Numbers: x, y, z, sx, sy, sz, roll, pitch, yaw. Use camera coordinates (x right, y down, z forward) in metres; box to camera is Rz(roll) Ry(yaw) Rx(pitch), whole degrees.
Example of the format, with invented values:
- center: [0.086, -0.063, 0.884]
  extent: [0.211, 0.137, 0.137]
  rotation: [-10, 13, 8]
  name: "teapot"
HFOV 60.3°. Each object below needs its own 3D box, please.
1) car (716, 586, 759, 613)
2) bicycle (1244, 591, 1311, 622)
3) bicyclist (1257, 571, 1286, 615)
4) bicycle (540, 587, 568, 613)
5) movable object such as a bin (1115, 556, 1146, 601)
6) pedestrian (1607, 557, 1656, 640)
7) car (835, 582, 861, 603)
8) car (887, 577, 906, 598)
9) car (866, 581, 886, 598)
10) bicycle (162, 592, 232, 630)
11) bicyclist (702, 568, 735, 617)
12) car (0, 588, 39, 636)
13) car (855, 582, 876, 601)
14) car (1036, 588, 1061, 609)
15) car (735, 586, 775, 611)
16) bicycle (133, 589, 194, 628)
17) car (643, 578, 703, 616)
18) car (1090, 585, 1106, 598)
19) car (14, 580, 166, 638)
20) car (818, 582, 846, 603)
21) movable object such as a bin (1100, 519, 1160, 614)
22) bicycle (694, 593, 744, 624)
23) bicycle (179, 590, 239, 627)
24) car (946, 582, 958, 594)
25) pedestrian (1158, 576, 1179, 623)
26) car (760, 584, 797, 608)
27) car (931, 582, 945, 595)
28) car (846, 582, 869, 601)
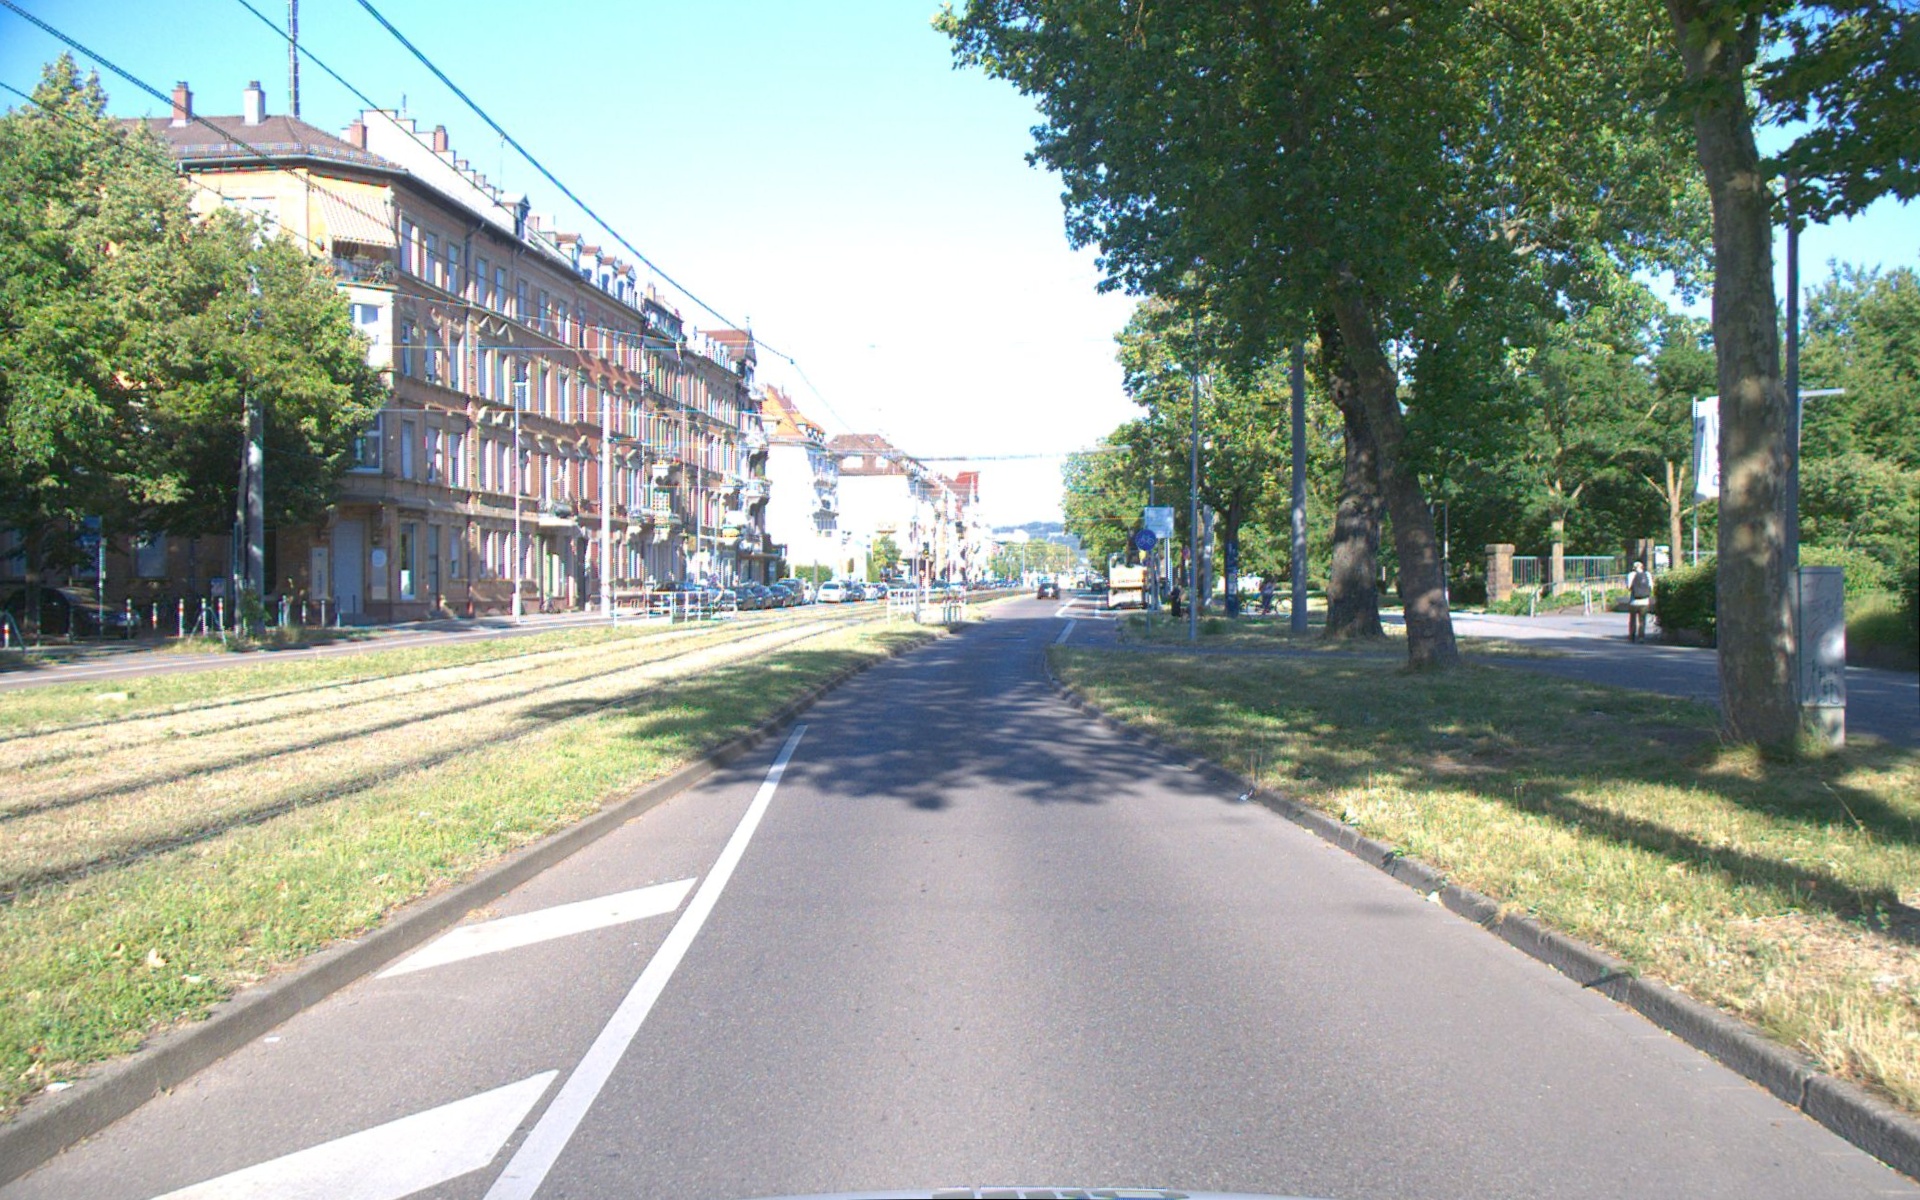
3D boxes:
- center: [-13.422, -0.044, 99.955]
  extent: [1.739, 1.430, 3.912]
  rotation: [2, 2, 4]
  name: "car"
- center: [11.203, 0.221, 58.437]
  extent: [2.213, 1.059, 0.767]
  rotation: [-1, 1, 1]
  name: "bicycle"
- center: [10.995, -0.252, 58.442]
  extent: [0.884, 1.522, 0.767]
  rotation: [0, 1, 1]
  name: "bicyclist"
- center: [-18.941, 0.000, 77.161]
  extent: [0.684, 1.201, 1.752]
  rotation: [2, 1, 5]
  name: "bicycle"
- center: [12.327, -1.537, 119.661]
  extent: [1.927, 3.065, 4.799]
  rotation: [-3, 0, 4]
  name: "movable object such as a bin"
- center: [12.953, -0.036, 31.914]
  extent: [0.636, 1.566, 0.784]
  rotation: [-1, 0, 5]
  name: "pedestrian"
- center: [-9.484, -0.662, 140.230]
  extent: [1.704, 1.588, 3.770]
  rotation: [2, 2, 4]
  name: "car"
- center: [-6.931, -1.416, 180.445]
  extent: [1.623, 2.177, 3.528]
  rotation: [2, 2, 4]
  name: "car"
- center: [-8.183, -1.030, 161.181]
  extent: [1.495, 1.588, 3.225]
  rotation: [2, 2, 4]
  name: "car"
- center: [-24.843, 0.349, 53.867]
  extent: [0.768, 1.199, 2.242]
  rotation: [2, 1, 16]
  name: "bicycle"
- center: [-8.656, -0.269, 59.348]
  extent: [0.750, 1.745, 0.921]
  rotation: [0, 1, 30]
  name: "bicyclist"
- center: [-31.624, 0.340, 52.111]
  extent: [4.091, 1.497, 2.001]
  rotation: [1, 0, 2]
  name: "car"
- center: [-8.665, -0.812, 152.290]
  extent: [1.495, 1.588, 3.225]
  rotation: [2, 2, 4]
  name: "car"
- center: [7.479, -0.134, 139.548]
  extent: [1.951, 1.713, 4.003]
  rotation: [2, 1, 5]
  name: "car"
- center: [-12.932, -0.123, 104.452]
  extent: [1.739, 1.430, 3.912]
  rotation: [2, 2, 4]
  name: "car"
- center: [-26.037, 0.270, 54.107]
  extent: [0.769, 1.199, 2.241]
  rotation: [2, 1, 3]
  name: "bicycle"
- center: [-14.786, -0.163, 85.420]
  extent: [1.973, 1.784, 4.561]
  rotation: [2, 2, 4]
  name: "car"
- center: [20.471, -1.297, 245.293]
  extent: [1.953, 1.892, 3.999]
  rotation: [2, 1, -2]
  name: "car"
- center: [-24.028, 0.235, 45.656]
  extent: [4.105, 1.497, 1.994]
  rotation: [1, 0, 34]
  name: "car"
- center: [-10.464, -0.634, 135.532]
  extent: [1.704, 1.588, 3.770]
  rotation: [2, 2, 4]
  name: "car"
- center: [9.973, -1.928, 97.603]
  extent: [3.022, 5.177, 8.897]
  rotation: [-3, 0, 4]
  name: "movable object such as a bin"
- center: [-8.632, 0.300, 59.389]
  extent: [0.750, 1.059, 1.956]
  rotation: [0, 1, 29]
  name: "bicycle"
- center: [-25.186, 0.279, 55.524]
  extent: [0.768, 1.199, 2.242]
  rotation: [2, 1, 6]
  name: "bicycle"
- center: [-1.197, -1.706, 240.704]
  extent: [1.495, 1.588, 3.225]
  rotation: [2, 2, 4]
  name: "car"
- center: [7.587, -0.009, 60.267]
  extent: [0.646, 1.675, 0.863]
  rotation: [-3, 0, 5]
  name: "pedestrian"
- center: [-12.091, -0.279, 110.217]
  extent: [1.739, 1.430, 3.982]
  rotation: [2, 2, 4]
  name: "car"
- center: [-2.953, -1.535, 223.850]
  extent: [1.495, 1.588, 3.225]
  rotation: [2, 2, 4]
  name: "car"
- center: [-9.027, -0.750, 145.757]
  extent: [1.495, 1.588, 3.225]
  rotation: [2, 2, 4]
  name: "car"
